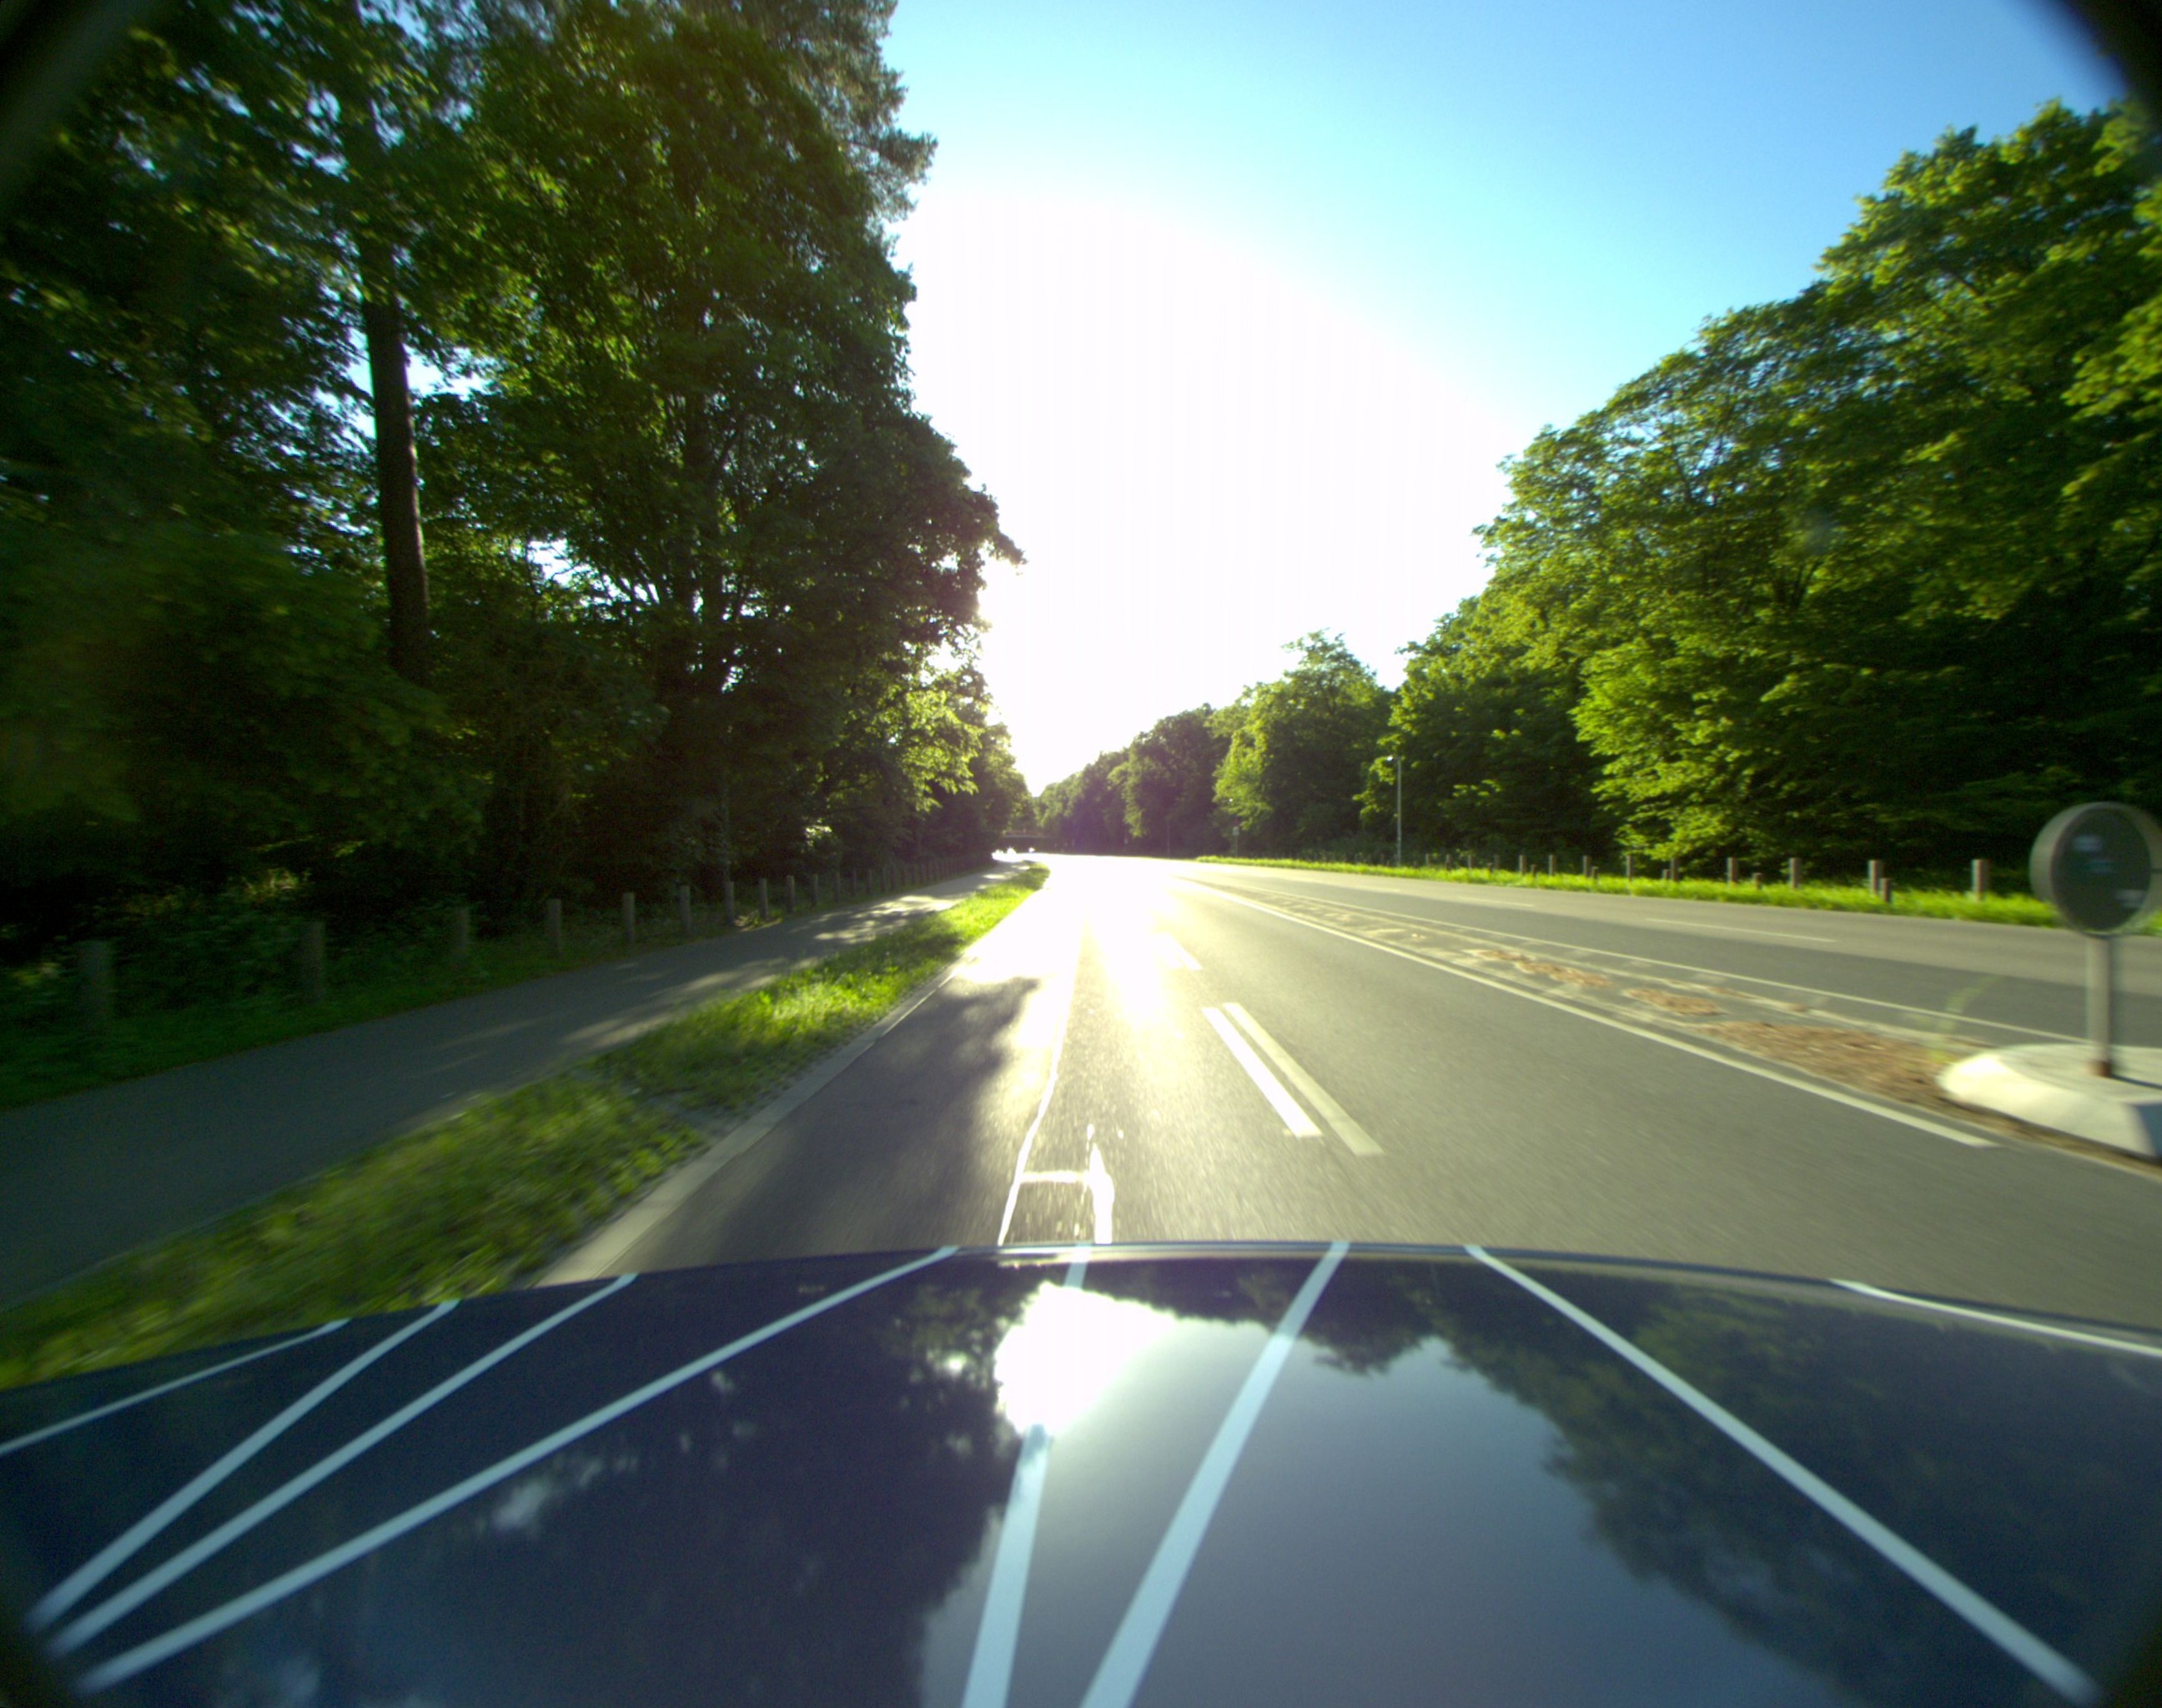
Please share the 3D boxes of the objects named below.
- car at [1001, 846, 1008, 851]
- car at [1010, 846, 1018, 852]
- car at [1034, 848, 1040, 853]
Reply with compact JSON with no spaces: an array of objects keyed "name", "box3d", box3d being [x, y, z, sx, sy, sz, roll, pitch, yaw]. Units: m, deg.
[{"name":"car","box3d":[-25.937,-1.717,257.666,1.828,1.674,3.995,-1,1,-13]},{"name":"car","box3d":[-19.870,-1.579,225.282,1.828,1.674,3.995,-1,1,-12]},{"name":"car","box3d":[-13.218,-0.949,229.040,1.592,1.429,4.305,-3,1,-8]}]
